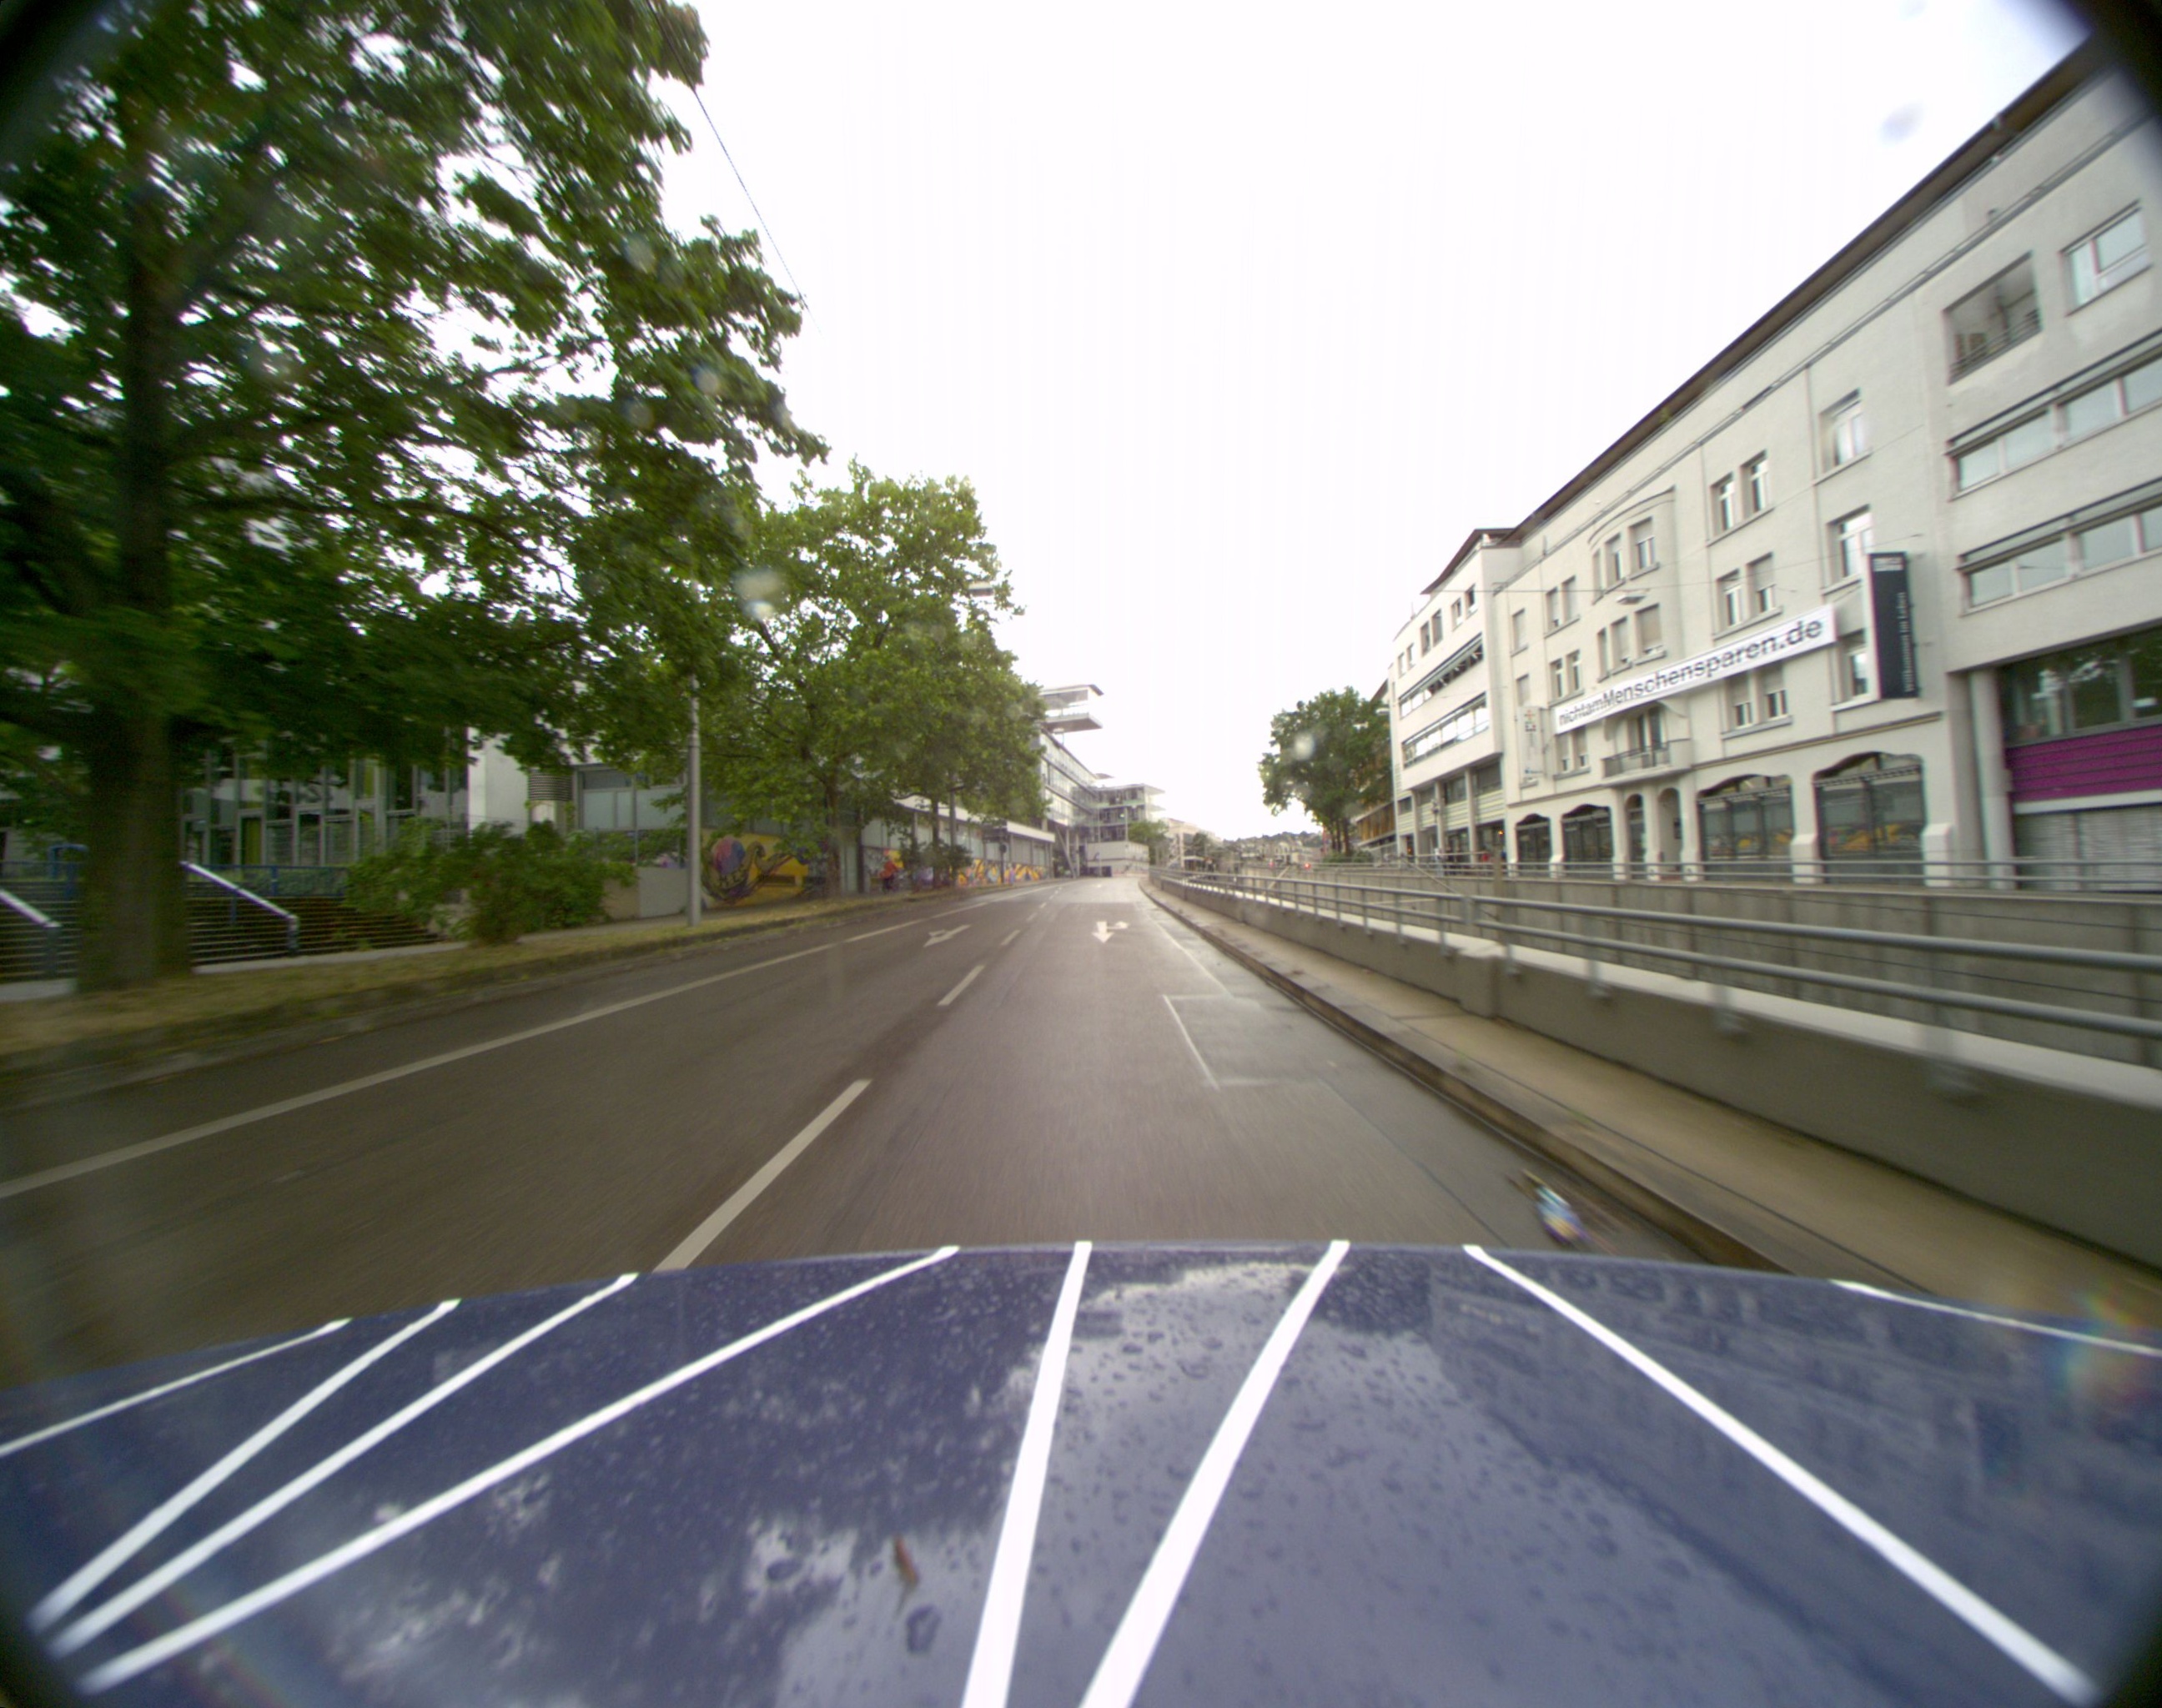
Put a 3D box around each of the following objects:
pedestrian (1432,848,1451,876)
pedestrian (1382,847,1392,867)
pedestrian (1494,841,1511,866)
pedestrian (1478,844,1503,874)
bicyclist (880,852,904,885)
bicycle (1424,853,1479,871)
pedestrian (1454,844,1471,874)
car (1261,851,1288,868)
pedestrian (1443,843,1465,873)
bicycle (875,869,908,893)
[{"bbox_3d":[21.401,0.478,45.128,0.675,1.633,0.793,-2,-1,-42],"label":"pedestrian"},{"bbox_3d":[27.985,0.310,69.426,0.666,1.838,0.831,0,-1,10],"label":"pedestrian"},{"bbox_3d":[24.563,-0.008,44.260,0.608,1.410,0.674,-2,-1,6],"label":"pedestrian"},{"bbox_3d":[22.302,0.290,41.420,0.674,1.606,0.941,-2,-1,-14],"label":"pedestrian"},{"bbox_3d":[-9.585,0.739,38.624,0.808,1.618,1.047,-2,0,8],"label":"bicyclist"},{"bbox_3d":[24.282,0.514,49.972,1.696,1.037,4.523,-2,0,5],"label":"bicycle"},{"bbox_3d":[22.357,0.312,44.489,0.675,1.711,0.608,-2,-1,-39],"label":"pedestrian"},{"bbox_3d":[20.643,0.658,81.159,1.841,1.702,4.579,-2,-1,3],"label":"car"},{"bbox_3d":[22.563,0.229,45.935,0.674,1.774,0.941,-2,-1,-14],"label":"pedestrian"},{"bbox_3d":[-9.576,1.340,38.508,0.808,1.105,2.199,-2,0,8],"label":"bicycle"}]
